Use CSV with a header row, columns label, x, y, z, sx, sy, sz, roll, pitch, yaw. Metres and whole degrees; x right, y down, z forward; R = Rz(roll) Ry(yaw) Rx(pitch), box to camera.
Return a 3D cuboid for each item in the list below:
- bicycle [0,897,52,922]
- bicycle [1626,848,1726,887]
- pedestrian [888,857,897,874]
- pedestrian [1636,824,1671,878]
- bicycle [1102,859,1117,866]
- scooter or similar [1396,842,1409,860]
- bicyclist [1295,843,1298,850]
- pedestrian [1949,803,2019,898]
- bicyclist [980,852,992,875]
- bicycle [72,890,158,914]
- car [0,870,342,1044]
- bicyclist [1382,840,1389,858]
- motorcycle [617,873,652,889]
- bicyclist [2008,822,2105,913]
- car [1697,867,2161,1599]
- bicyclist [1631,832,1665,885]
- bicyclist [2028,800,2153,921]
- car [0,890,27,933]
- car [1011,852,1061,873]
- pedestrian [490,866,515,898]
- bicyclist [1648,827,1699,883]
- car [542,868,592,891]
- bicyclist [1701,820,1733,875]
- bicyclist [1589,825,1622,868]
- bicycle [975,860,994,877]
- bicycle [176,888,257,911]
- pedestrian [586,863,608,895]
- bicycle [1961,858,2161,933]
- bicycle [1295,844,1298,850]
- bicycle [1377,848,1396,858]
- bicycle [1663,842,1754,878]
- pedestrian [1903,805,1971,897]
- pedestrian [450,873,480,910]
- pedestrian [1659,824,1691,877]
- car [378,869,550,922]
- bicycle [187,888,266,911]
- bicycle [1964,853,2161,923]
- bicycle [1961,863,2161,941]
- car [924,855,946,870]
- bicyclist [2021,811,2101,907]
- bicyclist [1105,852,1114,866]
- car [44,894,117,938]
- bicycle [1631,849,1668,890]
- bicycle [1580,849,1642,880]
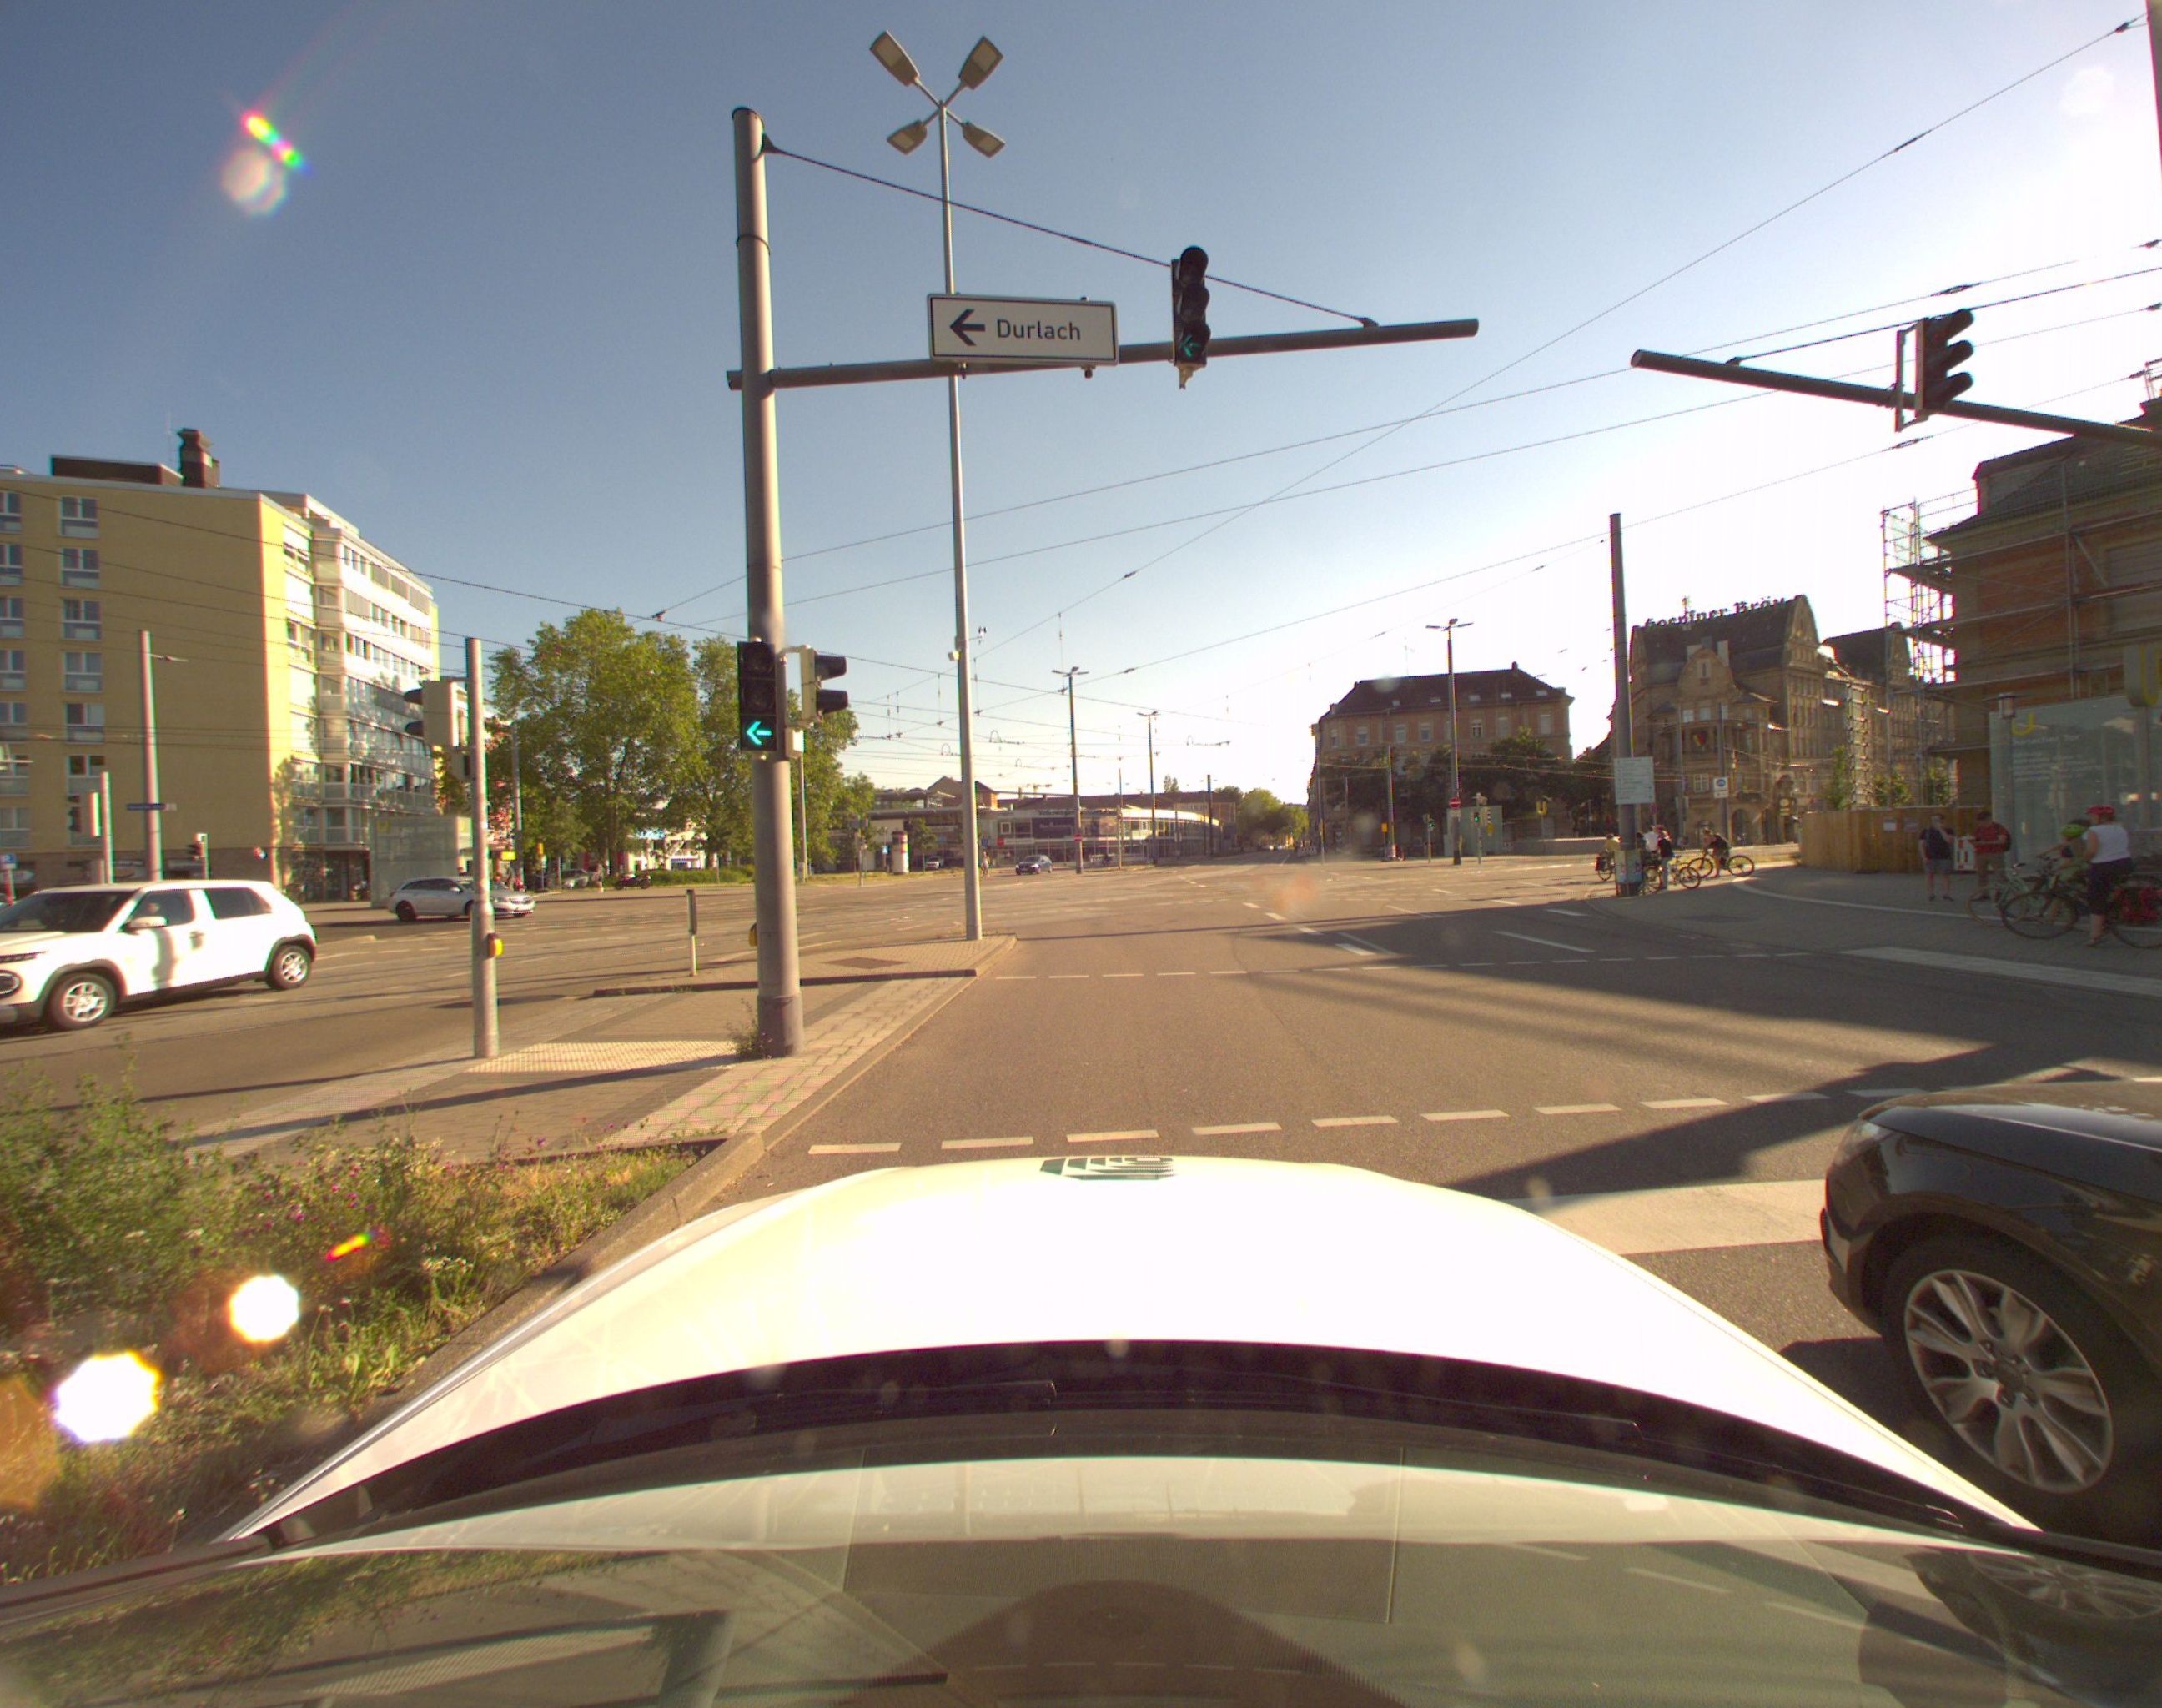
label,x,y,z,sx,sy,sz,roll,pitch,yaw
bicycle,-54.405,2.819,41.215,3.041,1.151,0.637,0,-1,-16
bicycle,17.047,0.375,23.399,0.701,1.049,2.303,0,-1,-22
pedestrian,-18.669,1.099,80.656,0.854,1.694,0.497,0,-1,-1
pedestrian,21.337,-0.105,30.362,0.730,2.014,0.760,0,-1,-6
bicycle,3.307,0.969,93.765,0.632,0.870,2.249,-1,-1,32
scooter or similar,24.728,-0.216,62.680,0.780,1.376,1.916,-1,-1,16
bicyclist,36.080,-1.202,136.400,0.405,1.116,0.400,-1,-1,13
pedestrian,17.538,-0.067,15.828,0.672,1.807,0.680,0,-1,-19
bicyclist,-7.034,0.703,60.219,0.593,1.615,0.827,-1,-1,19
bicycle,-50.291,2.470,42.429,3.041,1.151,0.637,0,-1,-16
car,-11.586,1.051,9.887,1.777,1.662,3.993,0,-1,-5
bicyclist,28.813,-0.484,77.123,0.509,1.700,0.523,-1,-1,35
motorcycle,-27.266,1.646,49.746,1.779,0.914,0.675,0,-1,-19
bicyclist,14.427,0.196,12.060,0.614,1.315,0.673,0,-1,-3
car,2.879,0.733,0.794,1.617,1.404,4.001,0,-1,2
bicyclist,15.845,0.125,22.771,0.701,1.439,0.953,-1,-1,31
bicyclist,13.471,0.089,10.894,0.664,1.553,0.794,0,-1,-3
car,-46.943,2.465,34.854,3.948,1.706,2.013,-1,-1,35
car,-3.406,0.657,61.924,1.975,1.585,4.024,-1,-1,29
pedestrian,-31.208,1.488,43.924,0.790,1.706,0.760,-1,-1,9
bicyclist,17.033,0.027,23.435,0.711,1.557,0.940,0,-1,-22
car,-37.308,1.802,59.229,1.772,1.567,3.983,0,-1,-12
bicyclist,20.936,-0.213,26.825,0.785,1.779,0.526,-1,-1,37
bicyclist,19.022,-0.266,29.538,0.514,1.557,0.945,0,-1,-7
bicycle,-7.086,1.065,60.070,0.607,1.189,1.878,-1,-1,19
bicycle,-46.138,2.409,43.511,3.041,1.151,0.637,0,-1,-16
pedestrian,-28.555,1.472,48.088,0.790,1.886,0.760,-1,-1,9
bicycle,14.443,0.566,11.990,0.657,0.963,2.033,-4,0,-3
bicycle,36.114,-1.121,136.504,0.407,0.941,1.852,-1,-1,15
bicycle,28.921,-0.099,77.060,1.579,0.952,0.663,-1,-1,35
bicycle,20.741,0.215,26.980,2.290,1.049,0.539,-5,-1,36
pedestrian,17.335,-0.059,16.506,0.672,1.807,0.680,-3,0,-19
pedestrian,-28.873,1.744,38.181,0.790,1.706,0.760,-1,-1,9
pedestrian,22.084,-0.123,30.281,0.646,1.922,0.689,0,-1,-6
car,-20.695,1.373,27.388,4.678,1.662,1.790,0,-1,8
bicycle,-46.356,2.461,44.228,3.041,1.151,0.637,0,-1,-16
bicycle,15.414,0.502,12.753,0.661,0.963,2.018,-4,1,-25
bicycle,13.452,0.602,11.088,0.656,0.963,2.033,0,-1,-3
car,-17.888,1.035,99.861,1.988,1.750,3.997,0,-1,-1
bicyclist,15.384,0.084,12.791,0.619,1.454,0.667,0,-1,-27
bicyclist,3.232,0.604,93.662,0.647,1.572,0.928,-1,-1,31
car,-44.272,2.677,36.015,3.948,1.706,1.730,-1,-1,35
bicycle,15.883,0.401,22.788,0.692,1.049,2.335,0,1,31
bicycle,19.050,0.346,29.338,0.533,1.049,2.315,0,1,-6
